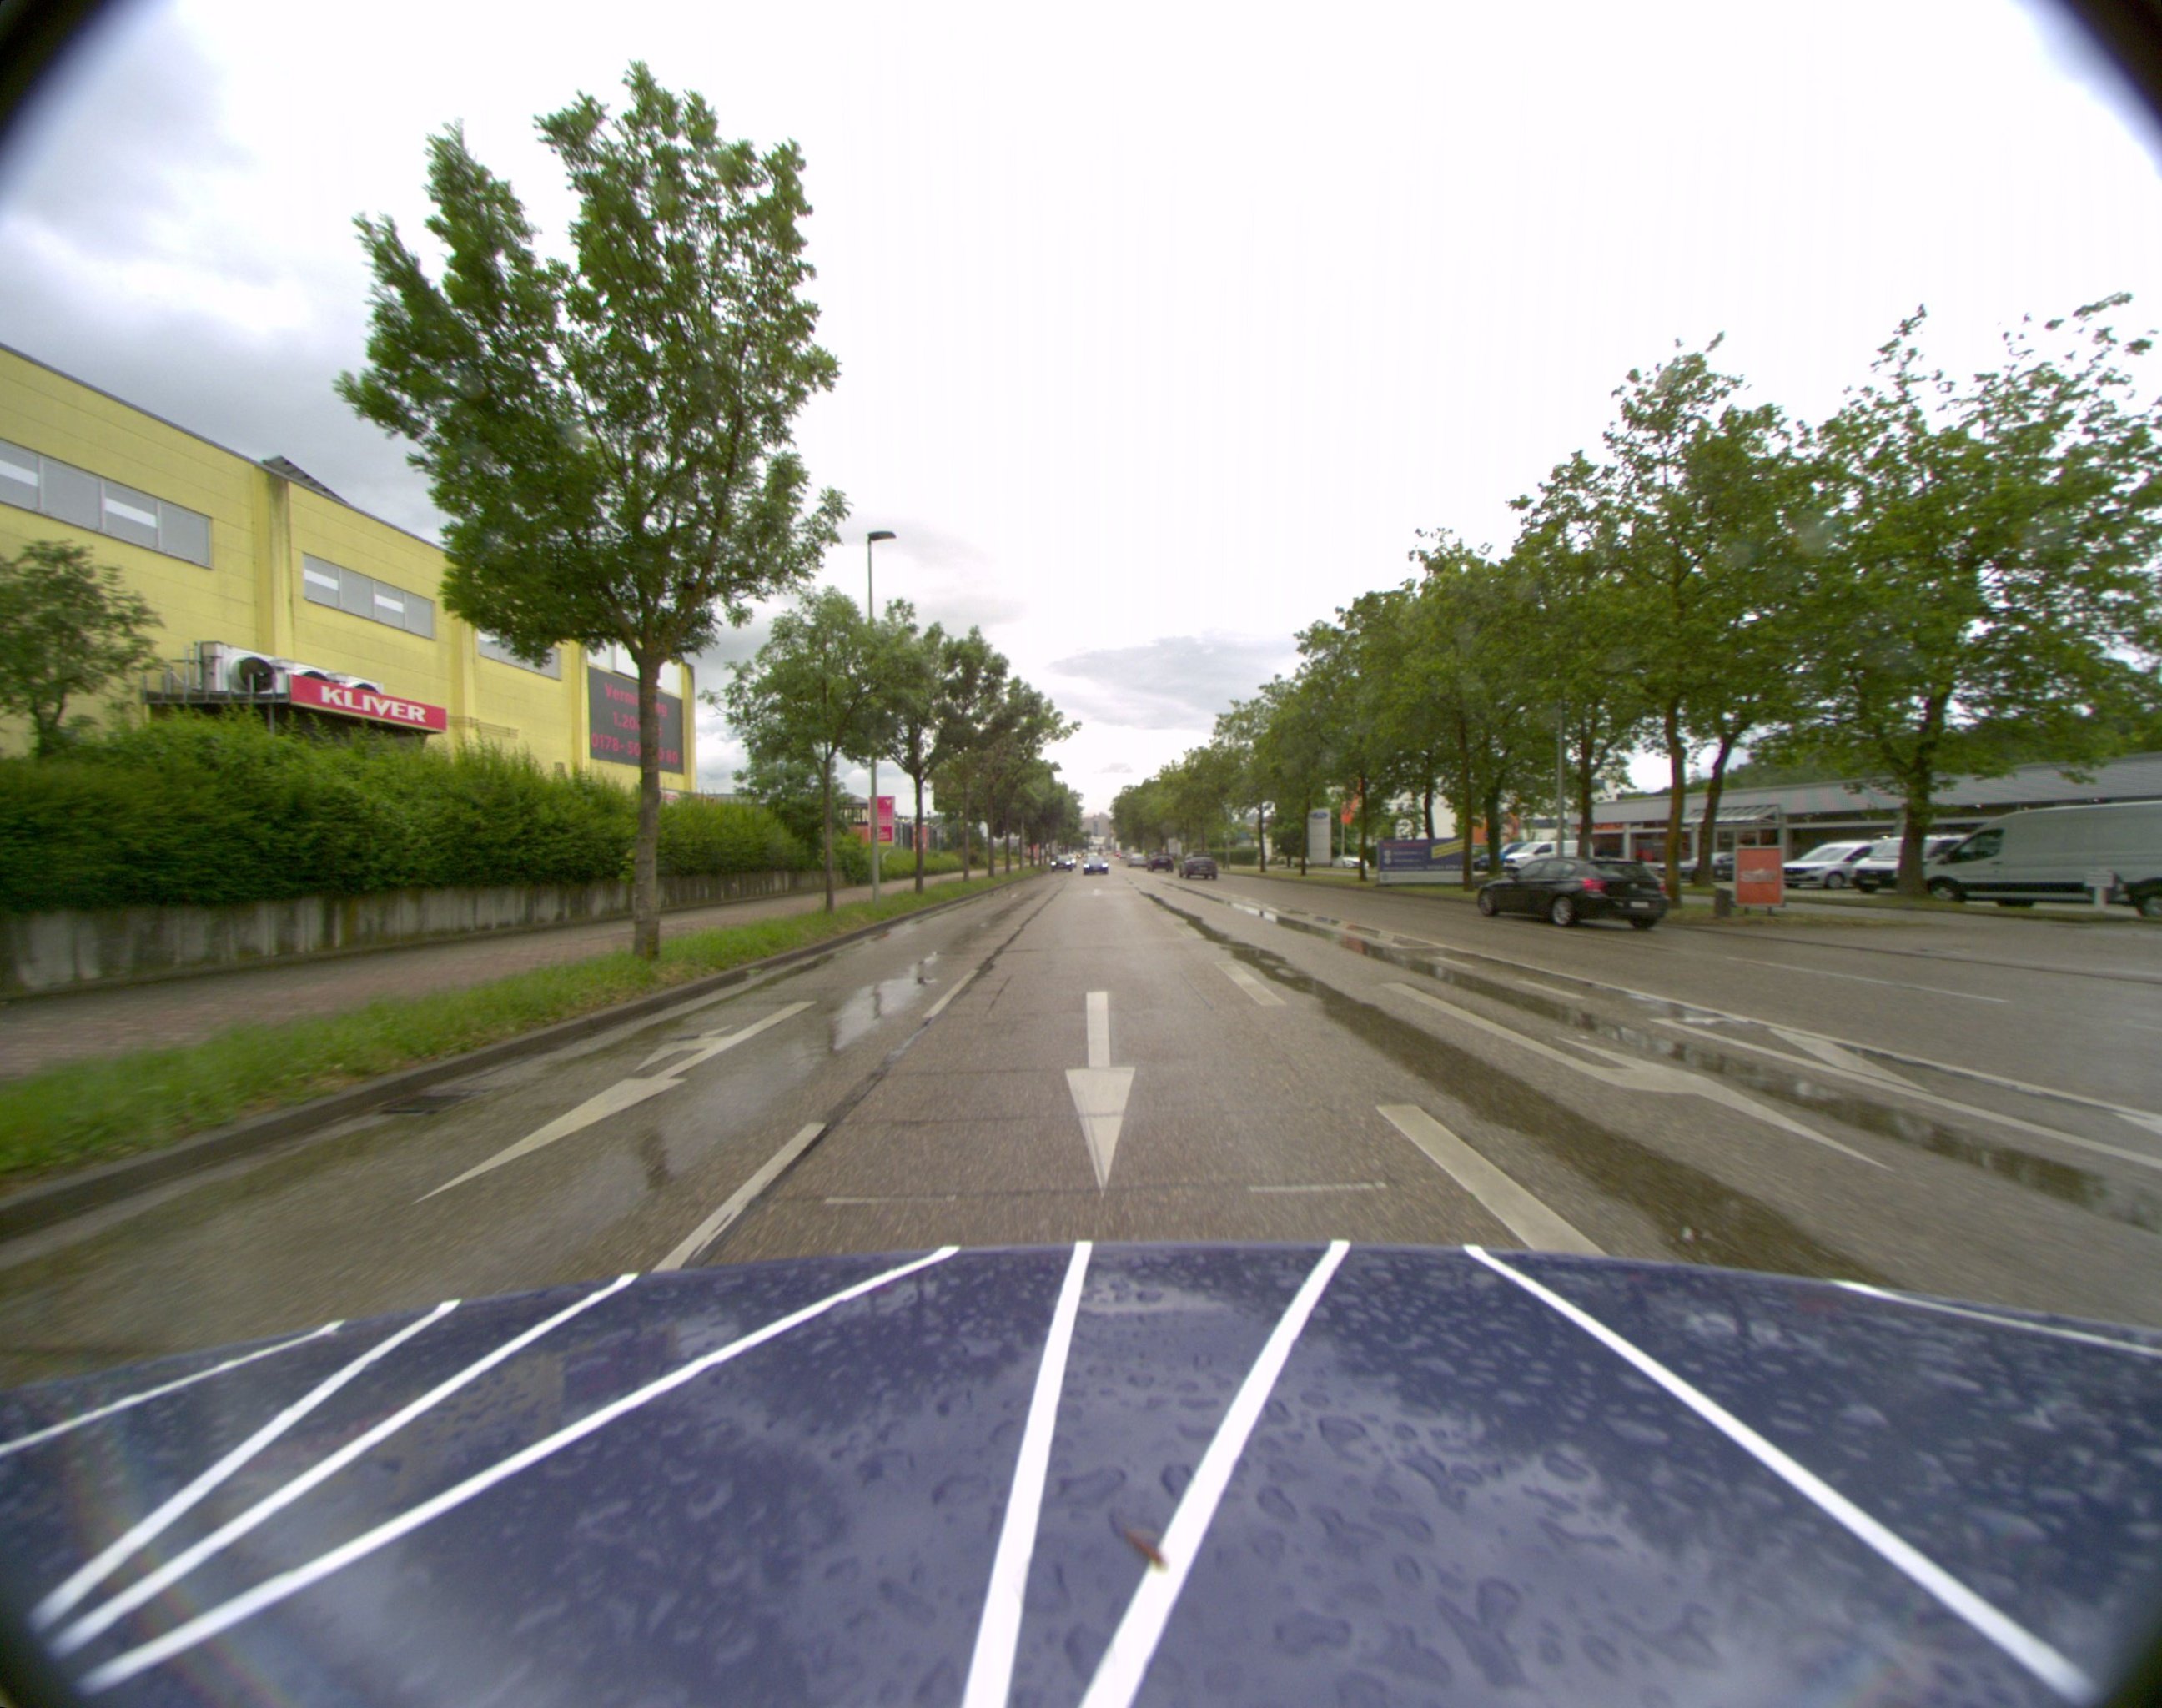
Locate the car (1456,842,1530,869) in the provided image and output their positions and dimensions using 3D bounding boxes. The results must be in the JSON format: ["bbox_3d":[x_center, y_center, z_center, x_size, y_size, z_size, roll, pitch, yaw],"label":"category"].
[{"bbox_3d":[29.028,0.121,53.629,4.136,1.803,2.066,-1,1,2],"label":"car"}]

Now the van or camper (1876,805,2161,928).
[{"bbox_3d":[22.429,0.207,17.208,1.999,2.456,6.399,-2,0,-2],"label":"van or camper"}]

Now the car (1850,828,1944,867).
[{"bbox_3d":[41.064,-0.346,38.224,3.890,1.734,1.909,-3,1,-21],"label":"car"}]

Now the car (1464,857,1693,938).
[{"bbox_3d":[10.199,0.807,16.092,1.741,1.421,4.536,0,1,-2],"label":"car"}]

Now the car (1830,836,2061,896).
[{"bbox_3d":[29.637,0.375,26.204,5.390,1.892,2.415,-1,1,-3],"label":"car"}]

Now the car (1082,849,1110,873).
[{"bbox_3d":[1.176,0.471,57.787,1.998,1.632,4.360,-2,1,1],"label":"car"}]

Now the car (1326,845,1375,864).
[{"bbox_3d":[21.961,0.049,62.119,2.123,1.487,5.246,0,0,0],"label":"car"}]

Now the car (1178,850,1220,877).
[{"bbox_3d":[6.876,0.526,44.557,1.671,1.454,4.179,0,1,-2],"label":"car"}]

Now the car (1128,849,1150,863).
[{"bbox_3d":[6.166,0.187,81.178,1.999,1.421,4.684,0,1,0],"label":"car"}]

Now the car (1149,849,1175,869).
[{"bbox_3d":[6.505,0.356,61.134,1.767,1.522,3.858,1,1,1],"label":"car"}]

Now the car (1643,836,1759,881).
[{"bbox_3d":[29.290,0.194,35.950,3.997,2.002,1.882,-1,1,-2],"label":"car"}]

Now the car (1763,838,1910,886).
[{"bbox_3d":[29.585,0.298,29.840,3.997,1.756,1.882,-1,1,-2],"label":"car"}]

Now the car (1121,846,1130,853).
[{"bbox_3d":[11.749,-1.284,201.258,1.916,1.795,5.340,1,0,0],"label":"car"}]

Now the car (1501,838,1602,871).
[{"bbox_3d":[29.489,0.016,47.711,5.058,2.002,2.129,-1,1,-1],"label":"car"}]

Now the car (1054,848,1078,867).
[{"bbox_3d":[-1.409,0.272,71.470,1.998,1.632,4.360,-2,1,1],"label":"car"}]
